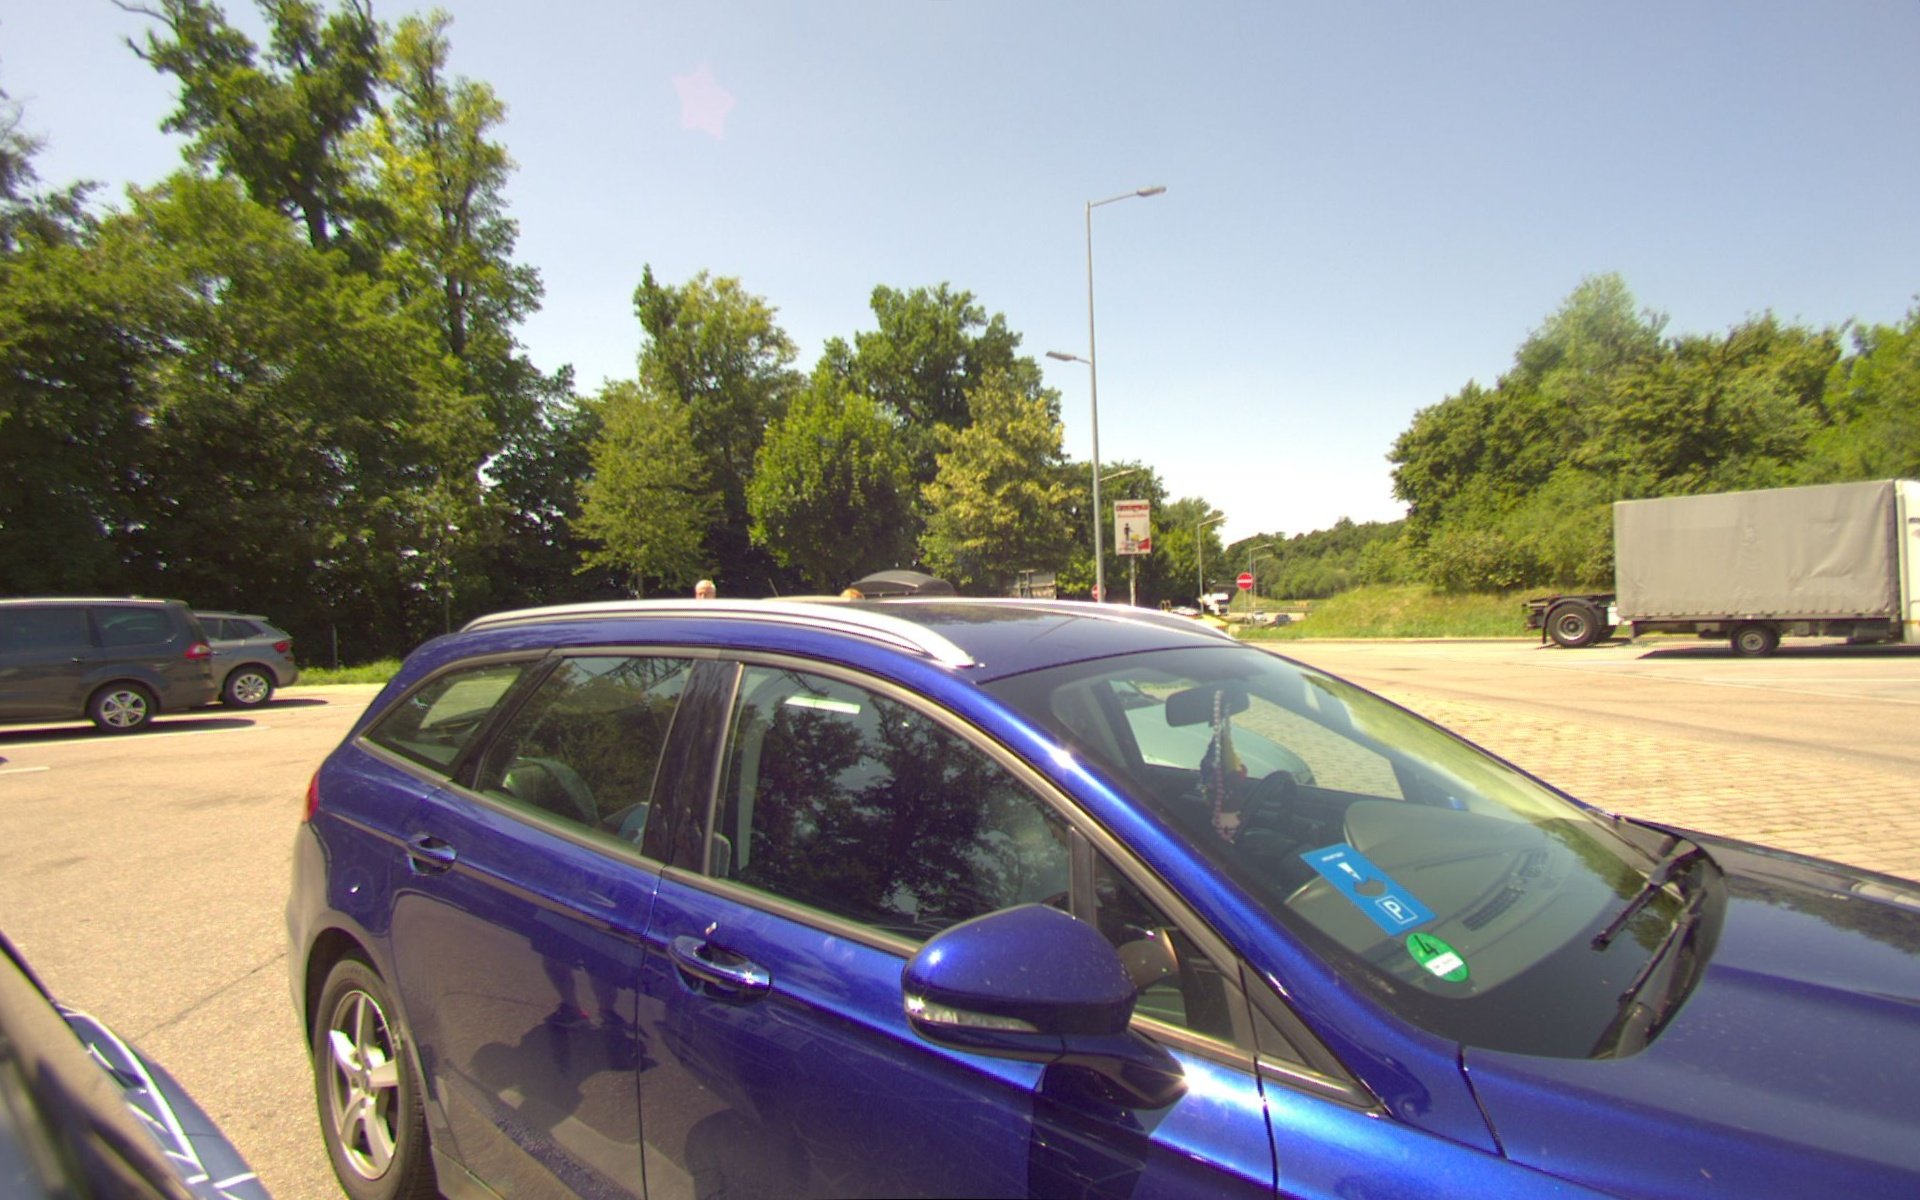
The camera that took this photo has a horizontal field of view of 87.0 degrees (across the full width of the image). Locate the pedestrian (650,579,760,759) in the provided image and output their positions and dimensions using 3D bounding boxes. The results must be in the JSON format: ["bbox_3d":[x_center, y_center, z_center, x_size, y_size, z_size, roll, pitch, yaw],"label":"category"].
[{"bbox_3d":[-2.406,0.625,9.560,0.759,1.614,0.663,-3,-1,41],"label":"pedestrian"}]

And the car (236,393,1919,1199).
[{"bbox_3d":[0.229,0.636,2.107,4.466,1.476,1.756,-3,-1,40],"label":"car"}]

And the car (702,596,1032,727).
[{"bbox_3d":[-1.373,0.763,13.538,4.466,1.476,1.756,-3,-1,40],"label":"car"}]

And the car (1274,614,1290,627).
[{"bbox_3d":[37.749,2.390,118.577,1.700,1.547,3.830,-2,-1,18],"label":"car"}]

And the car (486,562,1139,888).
[{"bbox_3d":[-1.230,0.637,6.719,4.466,1.476,1.756,-3,-1,40],"label":"car"}]

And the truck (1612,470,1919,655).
[{"bbox_3d":[16.750,-0.639,18.871,7.347,3.152,2.339,-3,-2,41],"label":"truck"}]

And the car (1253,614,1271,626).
[{"bbox_3d":[42.302,2.828,141.638,1.979,1.530,3.985,-2,-1,11],"label":"car"}]

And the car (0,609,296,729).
[{"bbox_3d":[-12.724,0.981,15.612,3.910,1.598,1.782,-1,-1,-43],"label":"car"}]

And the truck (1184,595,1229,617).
[{"bbox_3d":[46.237,1.167,190.817,2.851,3.859,15.627,-2,-1,-7],"label":"truck"}]

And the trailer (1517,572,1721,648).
[{"bbox_3d":[15.765,0.278,24.328,3.900,1.674,1.456,-3,-1,41],"label":"trailer"}]

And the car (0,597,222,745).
[{"bbox_3d":[-11.695,0.856,12.561,3.910,1.701,1.782,-1,-1,-43],"label":"car"}]

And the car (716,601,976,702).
[{"bbox_3d":[-2.025,0.835,17.091,4.466,1.476,1.756,-3,-1,40],"label":"car"}]

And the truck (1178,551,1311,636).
[{"bbox_3d":[13.317,-0.242,47.426,5.782,3.720,1.987,-2,-1,20],"label":"truck"}]
